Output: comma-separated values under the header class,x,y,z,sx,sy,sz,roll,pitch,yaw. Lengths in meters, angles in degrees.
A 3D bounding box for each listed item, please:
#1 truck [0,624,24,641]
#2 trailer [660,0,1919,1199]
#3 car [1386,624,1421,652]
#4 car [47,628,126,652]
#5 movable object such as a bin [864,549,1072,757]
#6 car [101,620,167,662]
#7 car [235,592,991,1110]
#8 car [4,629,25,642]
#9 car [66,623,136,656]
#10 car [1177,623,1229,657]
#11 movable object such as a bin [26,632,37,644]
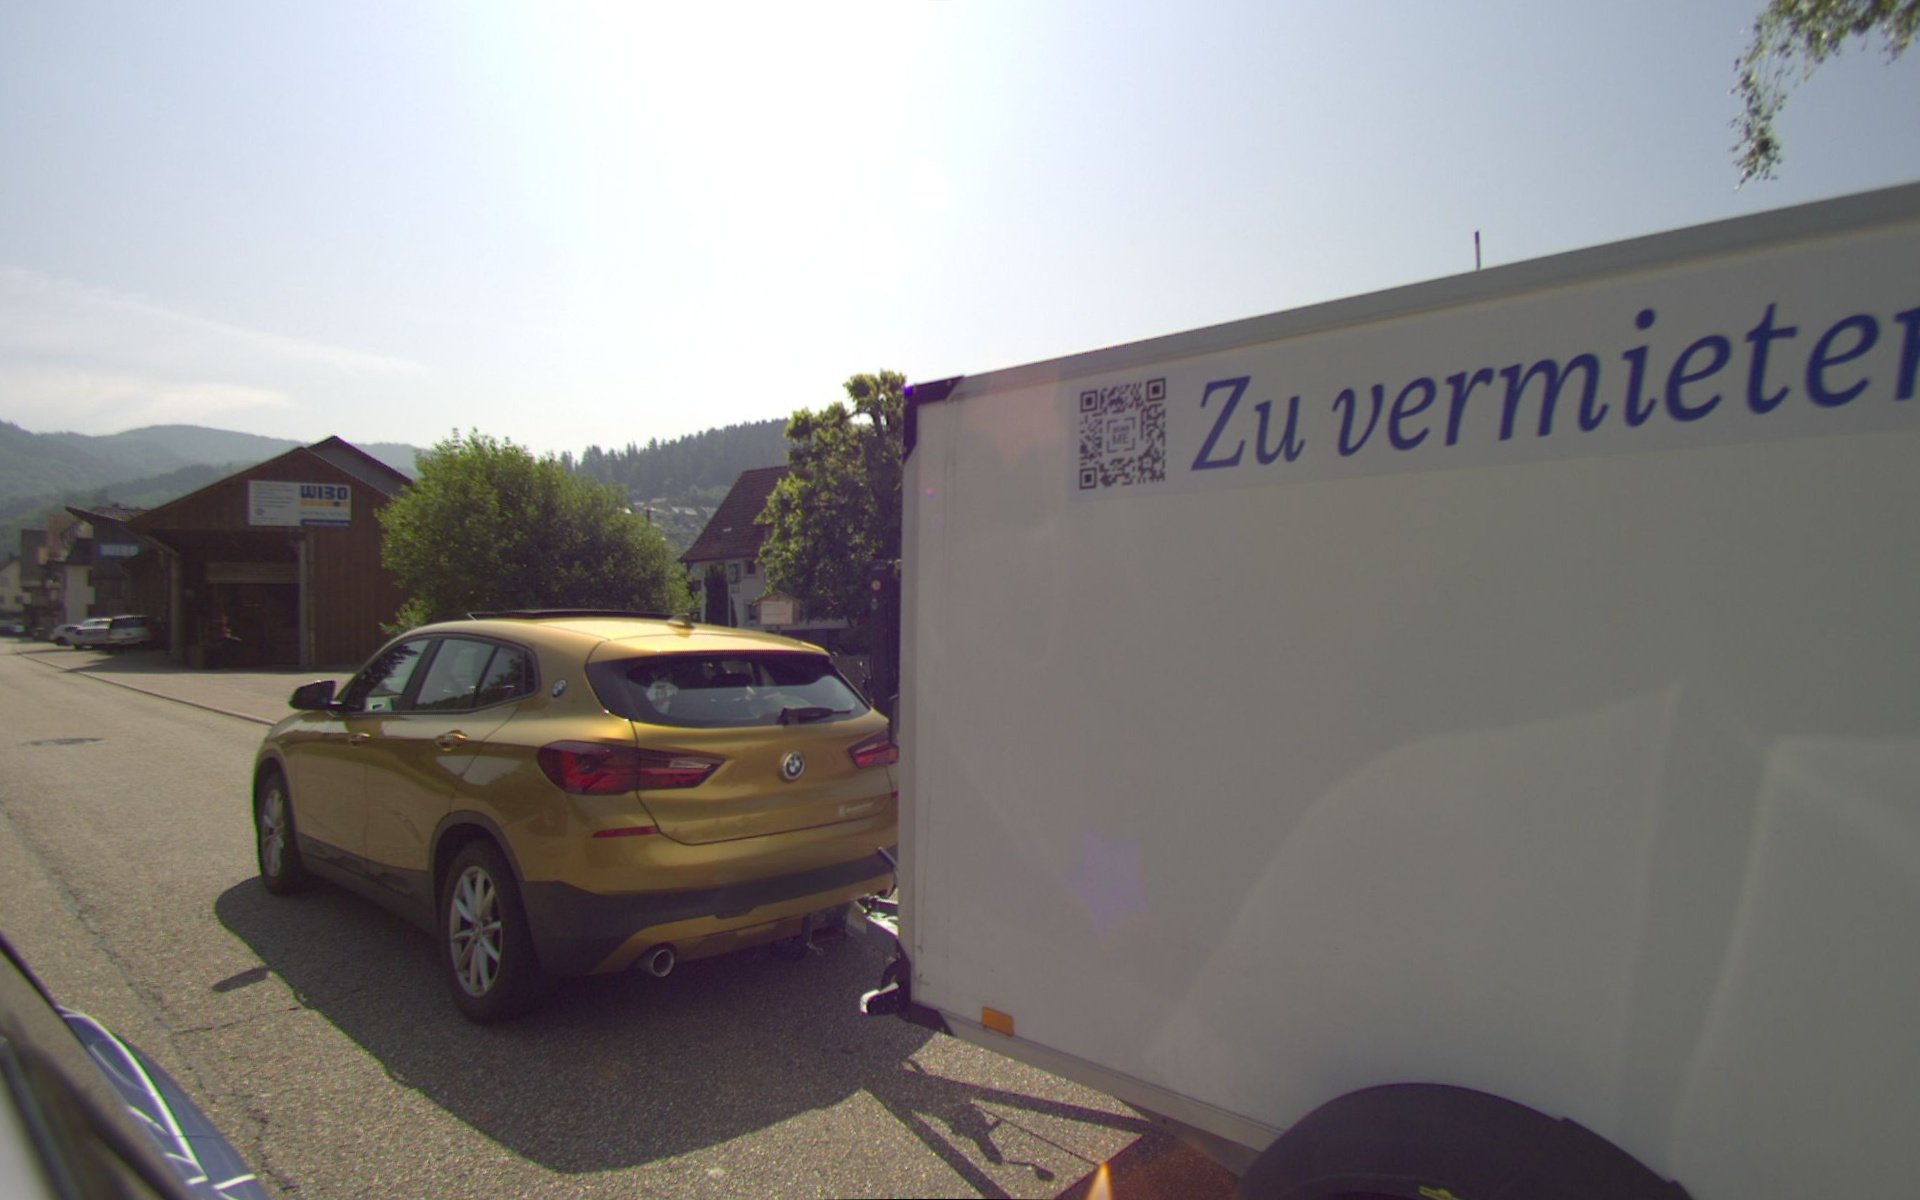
class,x,y,z,sx,sy,sz,roll,pitch,yaw
truck,-128.501,4.390,135.804,1.999,2.283,4.122,-2,-1,41
trailer,0.986,0.247,2.212,3.670,2.093,1.451,-1,-3,42
car,25.204,2.152,57.417,1.610,1.477,3.283,-1,-1,27
car,-58.317,2.699,67.635,3.608,1.396,1.716,5,-4,-28
movable object such as a bin,0.103,0.544,10.779,2.098,2.088,1.135,0,-2,3
car,-34.867,1.705,42.780,1.559,1.582,4.034,-3,0,-31
car,-1.994,0.795,5.050,4.148,1.512,1.794,-1,-3,42
car,-118.666,4.459,127.049,4.287,1.565,1.750,-2,-1,44
car,-41.538,1.934,49.059,1.705,1.465,4.819,0,-2,-29
car,13.273,2.155,55.178,1.758,1.689,3.764,-1,-1,31
movable object such as a bin,-82.202,3.352,89.586,0.668,1.075,0.622,1,-2,-45
